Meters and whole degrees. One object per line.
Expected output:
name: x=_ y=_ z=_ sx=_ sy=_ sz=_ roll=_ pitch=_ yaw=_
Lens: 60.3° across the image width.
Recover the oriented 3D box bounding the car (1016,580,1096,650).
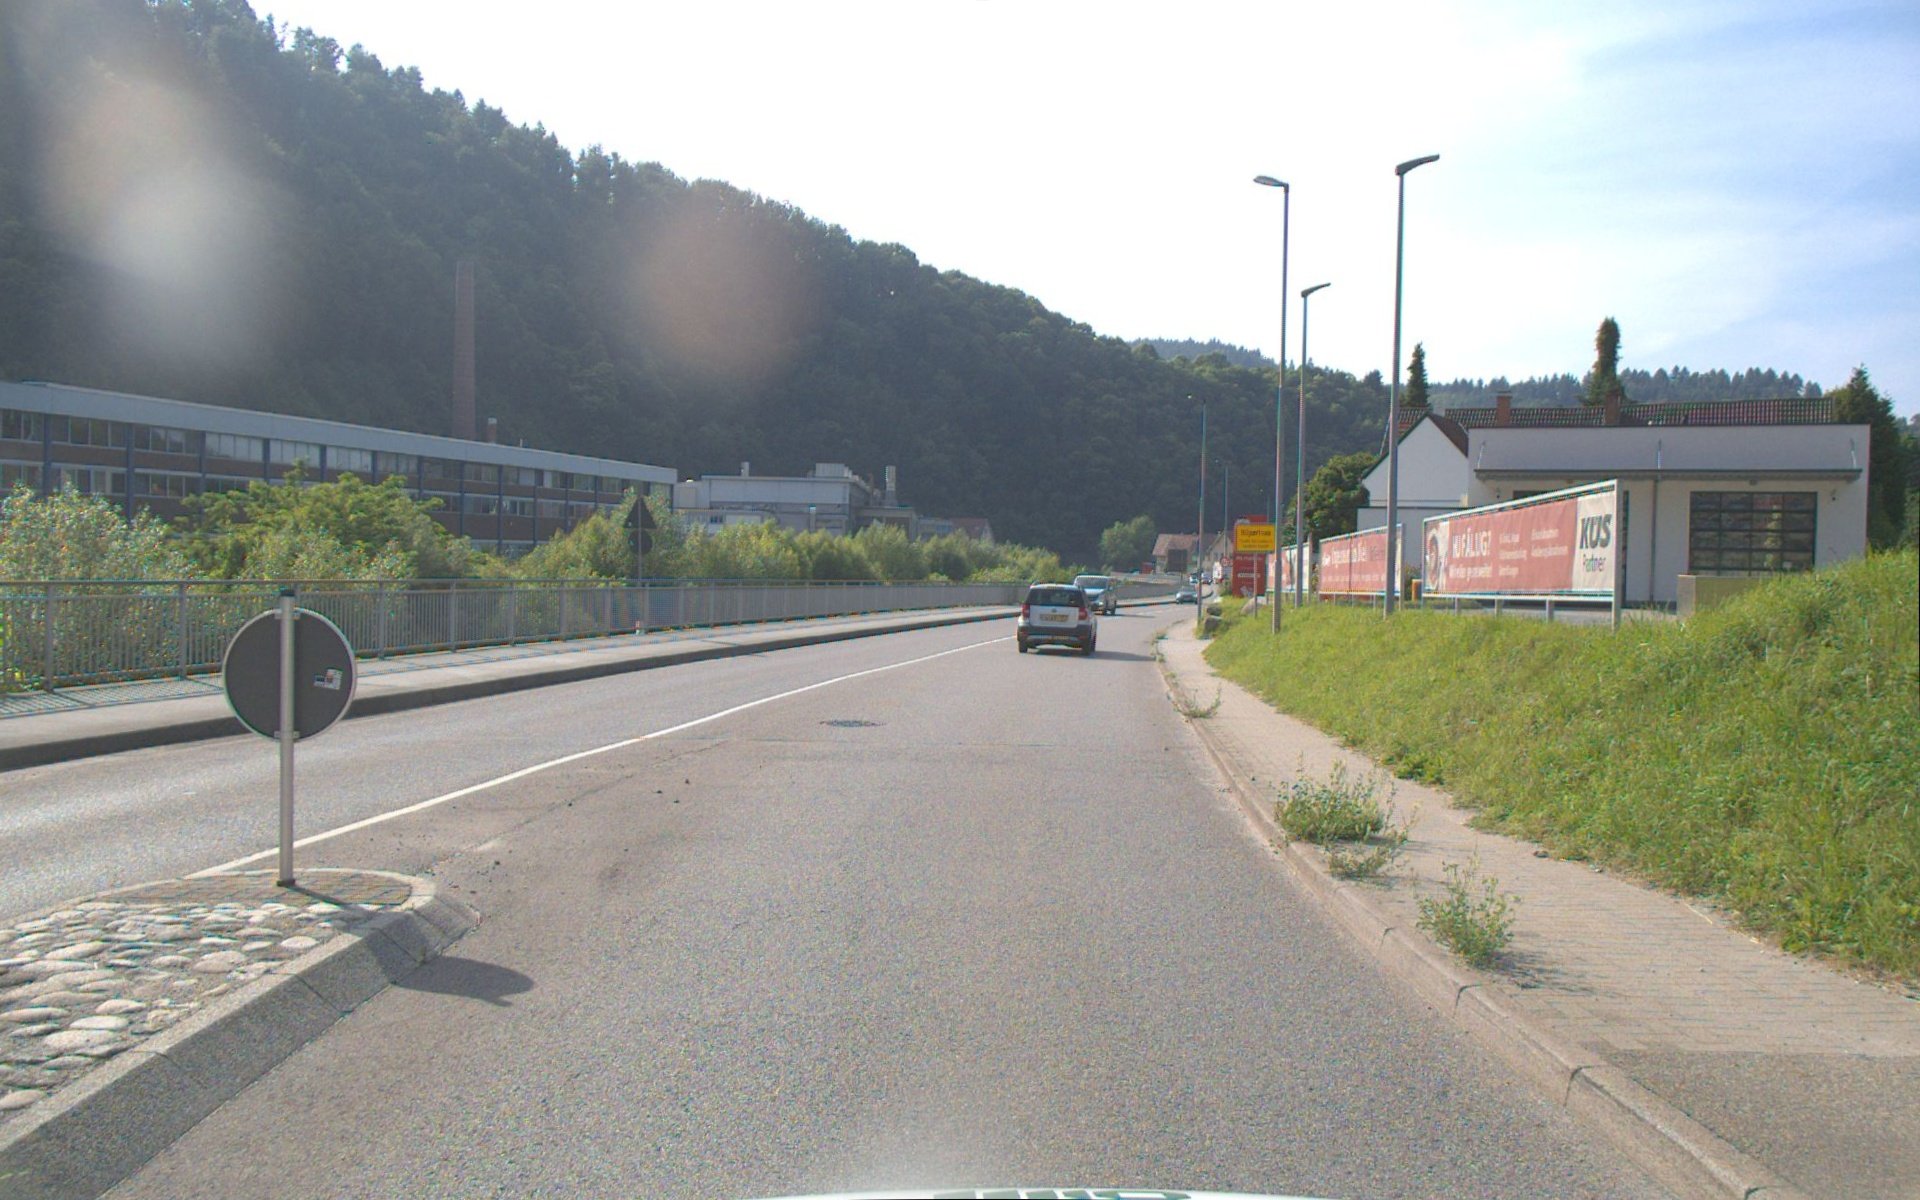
car: x=2.360 y=0.328 z=40.656 sx=1.822 sy=1.571 sz=4.375 roll=1 pitch=1 yaw=3

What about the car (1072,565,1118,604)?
car: x=7.109 y=-0.802 z=86.652 sx=1.879 sy=2.002 sz=5.150 roll=0 pitch=0 yaw=11

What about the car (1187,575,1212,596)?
car: x=18.928 y=-1.141 z=130.687 sx=1.774 sy=1.510 sz=4.802 roll=2 pitch=0 yaw=10
